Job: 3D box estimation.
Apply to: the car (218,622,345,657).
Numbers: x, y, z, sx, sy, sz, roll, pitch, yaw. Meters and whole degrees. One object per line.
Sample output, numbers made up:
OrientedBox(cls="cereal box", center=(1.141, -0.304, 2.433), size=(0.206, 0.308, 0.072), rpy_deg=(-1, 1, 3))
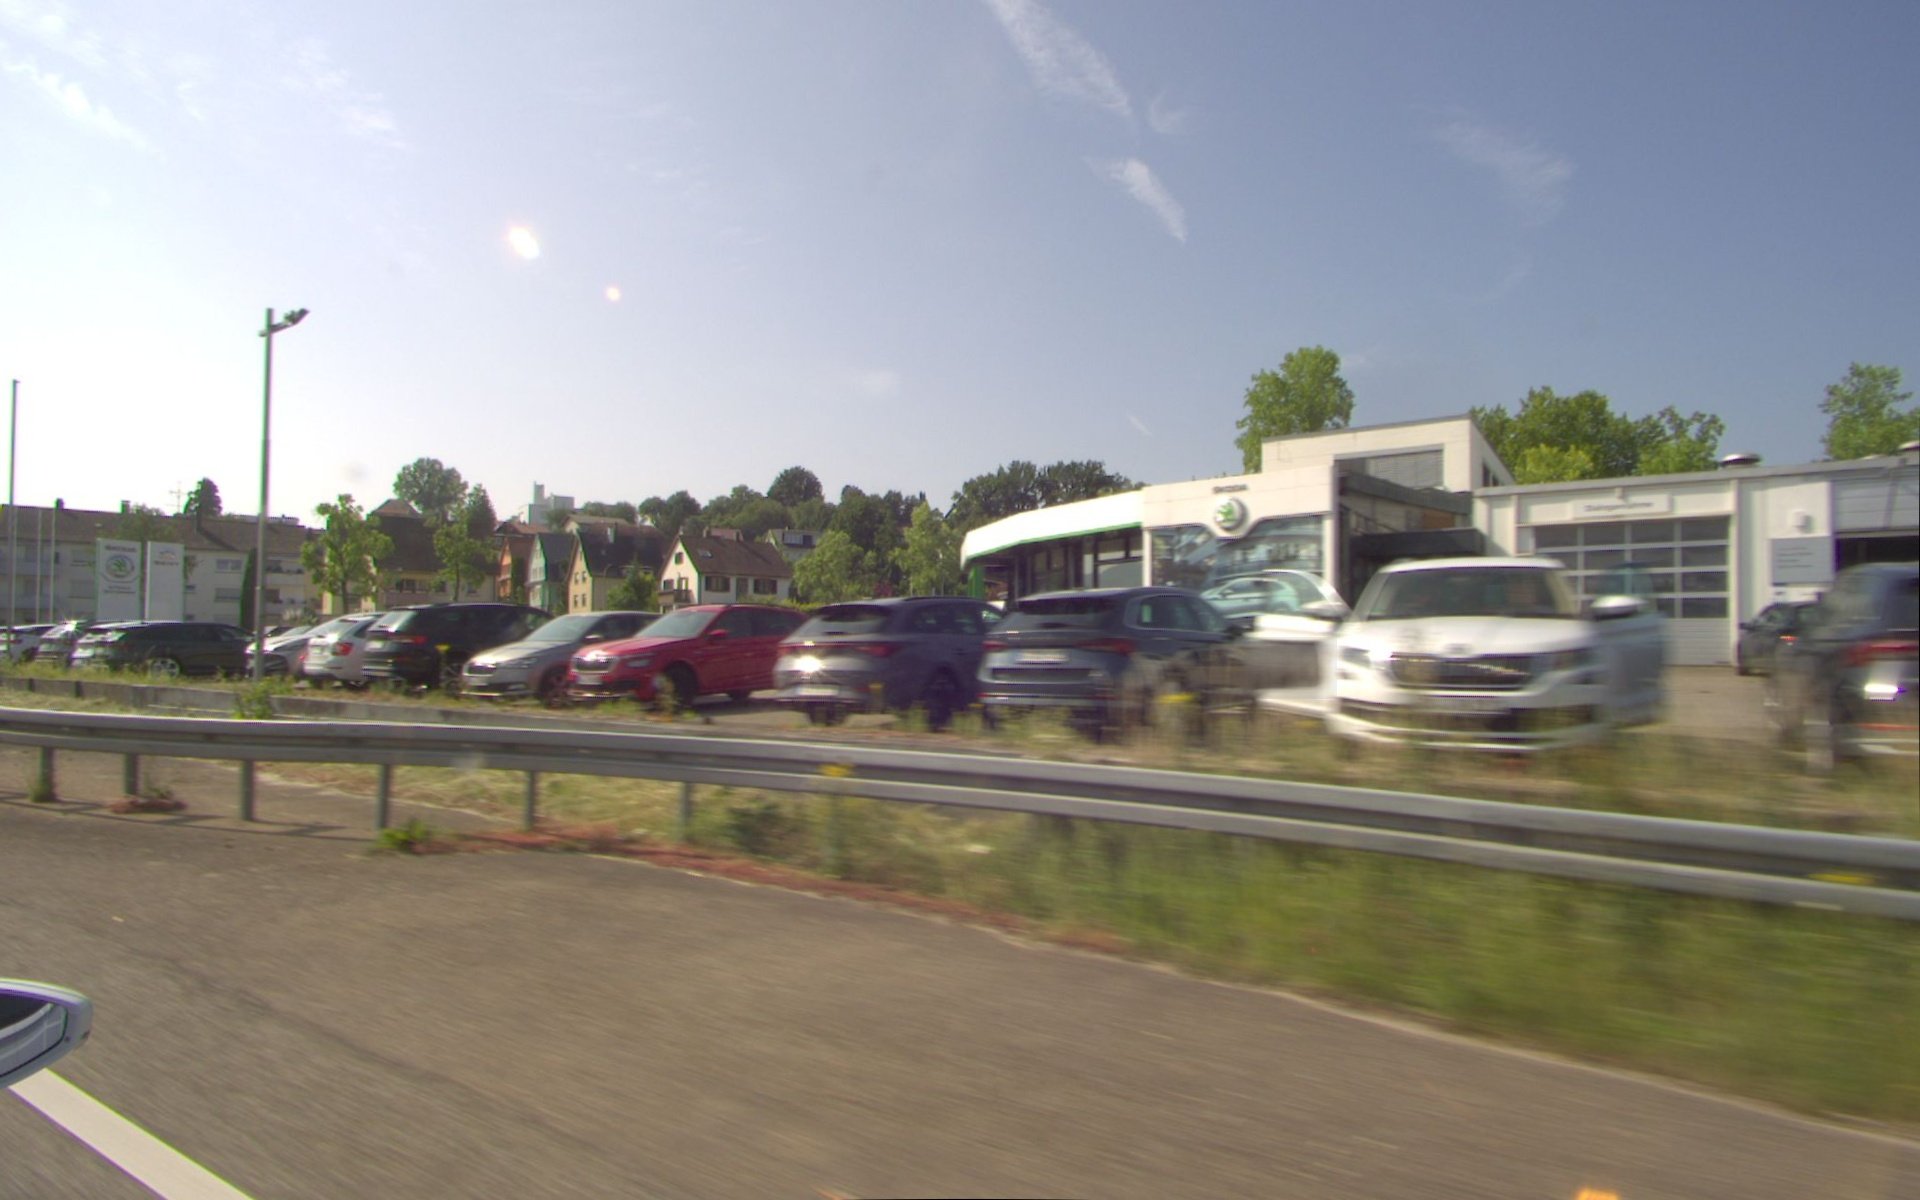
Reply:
OrientedBox(cls="car", center=(-32.636, 1.884, 48.302), size=(1.904, 1.585, 4.729), rpy_deg=(-2, -1, 31))

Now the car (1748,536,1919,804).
OrientedBox(cls="car", center=(6.843, 0.416, 6.825), size=(1.924, 1.470, 3.979), rpy_deg=(-2, -2, 33))

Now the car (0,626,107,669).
OrientedBox(cls="car", center=(-34.985, 1.771, 37.598), size=(1.795, 1.535, 4.157), rpy_deg=(-1, -1, 25))

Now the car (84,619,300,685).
OrientedBox(cls="car", center=(-19.134, 1.265, 25.120), size=(1.706, 1.513, 3.980), rpy_deg=(-1, -2, 32))

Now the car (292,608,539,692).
OrientedBox(cls="car", center=(-10.782, 0.943, 20.071), size=(1.701, 1.505, 4.021), rpy_deg=(-2, -2, 37))

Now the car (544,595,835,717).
OrientedBox(cls="car", center=(-3.887, 0.768, 15.030), size=(1.757, 1.572, 4.073), rpy_deg=(-2, -2, 34))

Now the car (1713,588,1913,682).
OrientedBox(cls="car", center=(16.075, 0.644, 19.146), size=(1.761, 1.585, 4.311), rpy_deg=(-1, -1, 25))

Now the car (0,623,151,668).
OrientedBox(cls="car", center=(-32.441, 1.651, 36.634), size=(1.797, 1.535, 4.090), rpy_deg=(-1, -2, 29))

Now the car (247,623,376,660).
OrientedBox(cls="car", center=(-30.266, 1.906, 46.866), size=(1.904, 1.585, 4.729), rpy_deg=(-2, -1, 31))

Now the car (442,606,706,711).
OrientedBox(cls="car", center=(-6.093, 0.872, 16.179), size=(1.642, 1.477, 3.722), rpy_deg=(-2, -2, 34))

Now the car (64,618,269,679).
OrientedBox(cls="car", center=(-21.207, 1.281, 26.934), size=(1.764, 1.513, 3.982), rpy_deg=(-1, -2, 30))

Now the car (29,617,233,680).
OrientedBox(cls="car", center=(-23.236, 1.343, 28.229), size=(1.764, 1.630, 4.075), rpy_deg=(-1, -2, 27))

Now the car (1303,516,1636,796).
OrientedBox(cls="car", center=(4.229, 0.406, 8.131), size=(1.894, 1.652, 3.981), rpy_deg=(-1, -2, 32))

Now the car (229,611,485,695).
OrientedBox(cls="car", center=(-12.889, 1.073, 21.701), size=(1.827, 1.621, 4.442), rpy_deg=(-1, -2, 29))

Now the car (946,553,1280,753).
OrientedBox(cls="car", center=(1.773, 0.511, 10.446), size=(1.895, 1.652, 3.977), rpy_deg=(-2, -2, 35))

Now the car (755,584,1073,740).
OrientedBox(cls="car", center=(-0.362, 0.660, 11.609), size=(1.722, 1.477, 3.828), rpy_deg=(-2, -2, 35))

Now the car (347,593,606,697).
OrientedBox(cls="car", center=(-8.699, 0.777, 18.274), size=(1.817, 1.685, 3.864), rpy_deg=(-2, -2, 37))

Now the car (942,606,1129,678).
OrientedBox(cls="car", center=(1.909, 0.953, 24.211), size=(4.671, 1.585, 1.775), rpy_deg=(0, -1, -42))
